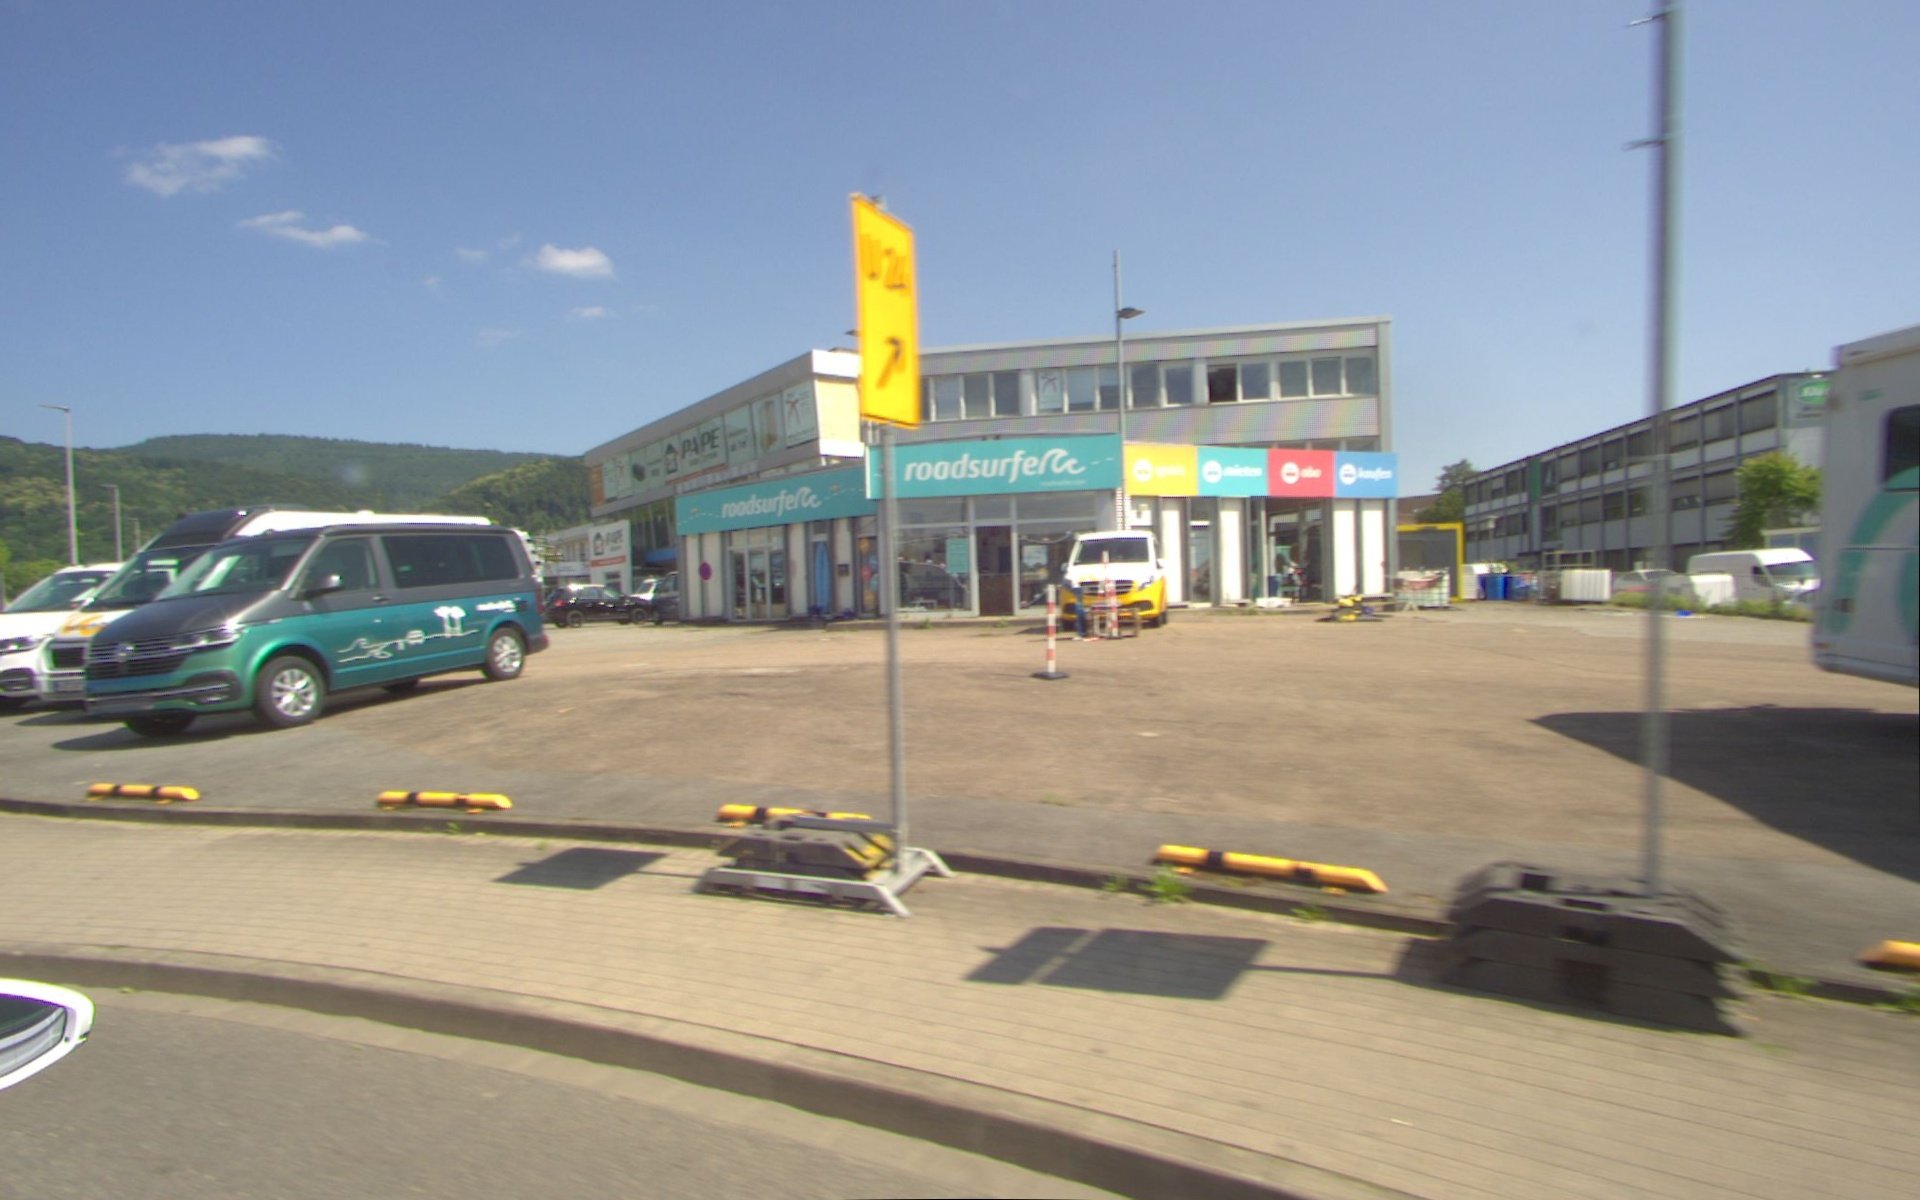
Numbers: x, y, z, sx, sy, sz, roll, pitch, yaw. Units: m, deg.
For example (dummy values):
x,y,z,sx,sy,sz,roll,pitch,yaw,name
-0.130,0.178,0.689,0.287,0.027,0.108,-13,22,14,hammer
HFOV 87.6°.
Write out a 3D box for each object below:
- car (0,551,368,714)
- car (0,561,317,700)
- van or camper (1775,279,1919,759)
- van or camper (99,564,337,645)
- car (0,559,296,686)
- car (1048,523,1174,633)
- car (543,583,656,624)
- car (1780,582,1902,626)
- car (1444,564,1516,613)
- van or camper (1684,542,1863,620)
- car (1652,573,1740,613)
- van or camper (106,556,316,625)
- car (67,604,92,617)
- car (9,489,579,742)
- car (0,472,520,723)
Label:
x,y,z,sx,sy,sz,roll,pitch,yaw,name
-12.044,0.366,15.198,1.989,2.027,5.148,-2,1,18,car
-14.202,0.385,17.152,1.898,2.041,5.133,-1,2,22,car
6.802,-0.443,3.896,2.290,2.987,7.077,-1,2,8,van or camper
-25.934,0.085,35.330,6.444,2.596,2.952,-2,1,-37,van or camper
-16.114,0.388,19.361,2.015,2.122,5.143,-2,0,22,car
3.233,-0.436,20.501,2.059,1.902,5.095,-2,1,14,car
-14.696,0.133,40.865,3.951,1.539,1.876,-2,1,-37,car
24.076,0.085,27.468,1.157,1.109,2.855,-1,1,9,car
28.596,-0.615,55.254,2.071,2.560,5.601,-1,0,12,car
31.331,-0.678,38.938,2.301,2.715,6.738,-1,0,9,van or camper
25.118,-0.246,34.280,1.201,1.266,2.936,-1,1,9,car
-30.270,-0.409,40.797,6.544,2.596,3.375,-2,1,-36,van or camper
-92.384,1.107,105.081,1.703,1.321,3.968,-2,2,-38,car
-6.896,0.030,11.371,2.059,2.143,5.217,-3,3,14,car
-9.382,-0.077,14.237,2.265,2.754,6.146,-1,1,16,car
